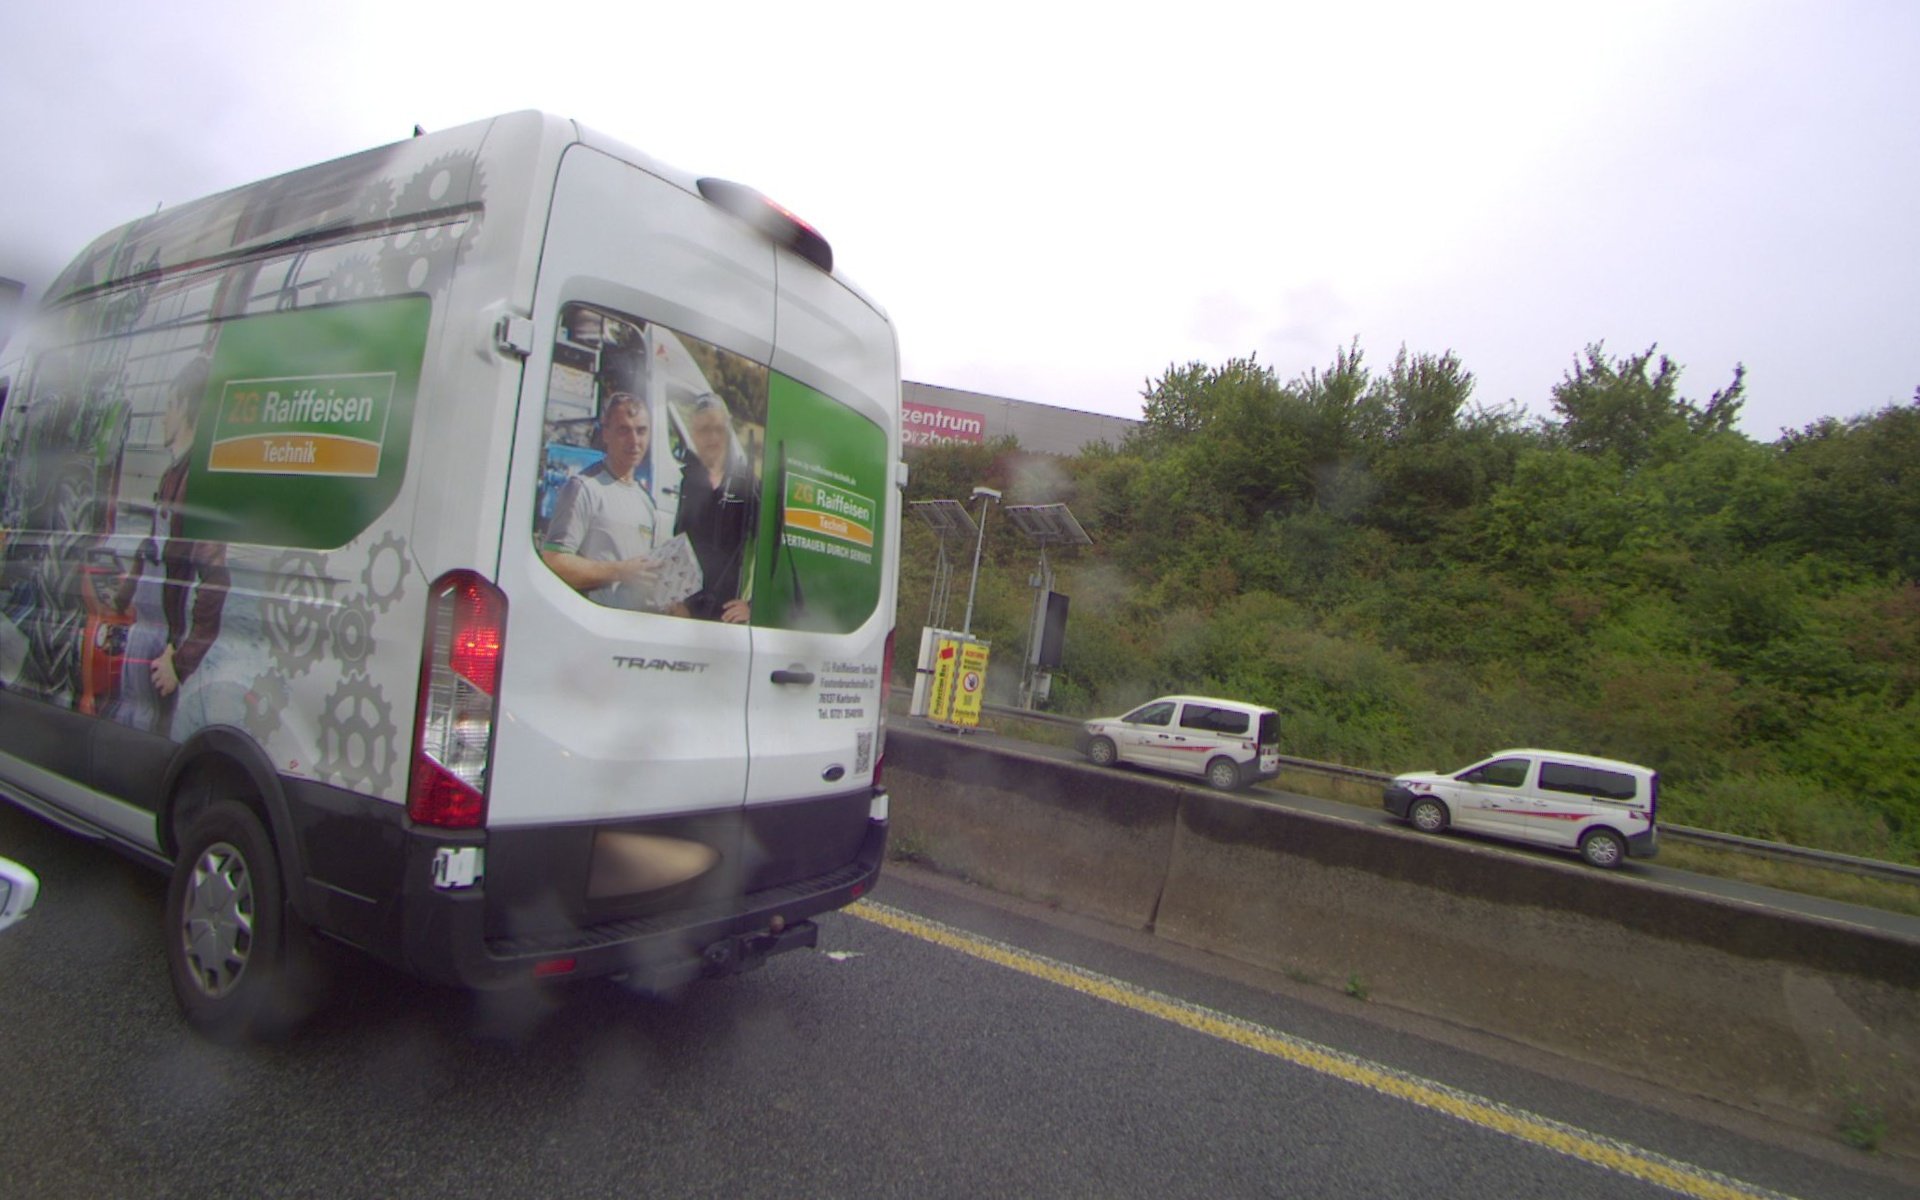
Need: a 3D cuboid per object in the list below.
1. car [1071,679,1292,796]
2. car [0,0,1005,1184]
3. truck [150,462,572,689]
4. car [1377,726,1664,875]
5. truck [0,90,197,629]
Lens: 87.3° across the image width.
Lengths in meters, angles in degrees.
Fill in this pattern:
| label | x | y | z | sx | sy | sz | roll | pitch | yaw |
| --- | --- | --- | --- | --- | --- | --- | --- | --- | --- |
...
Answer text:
| label | x | y | z | sx | sy | sz | roll | pitch | yaw |
| --- | --- | --- | --- | --- | --- | --- | --- | --- | --- |
| car | 4.776 | 2.894 | 21.807 | 4.197 | 1.778 | 1.732 | 6 | -2 | 31 |
| car | -3.062 | -0.266 | 4.685 | 6.017 | 2.707 | 2.148 | 6 | -1 | 32 |
| truck | -11.248 | -0.594 | 18.442 | 8.968 | 3.168 | 2.525 | 6 | -1 | 32 |
| car | 10.142 | 3.543 | 18.453 | 4.257 | 1.790 | 1.732 | 6 | -2 | 31 |
| truck | -19.253 | -3.598 | 16.085 | 20.040 | 5.739 | 3.986 | 6 | -1 | 32 |
